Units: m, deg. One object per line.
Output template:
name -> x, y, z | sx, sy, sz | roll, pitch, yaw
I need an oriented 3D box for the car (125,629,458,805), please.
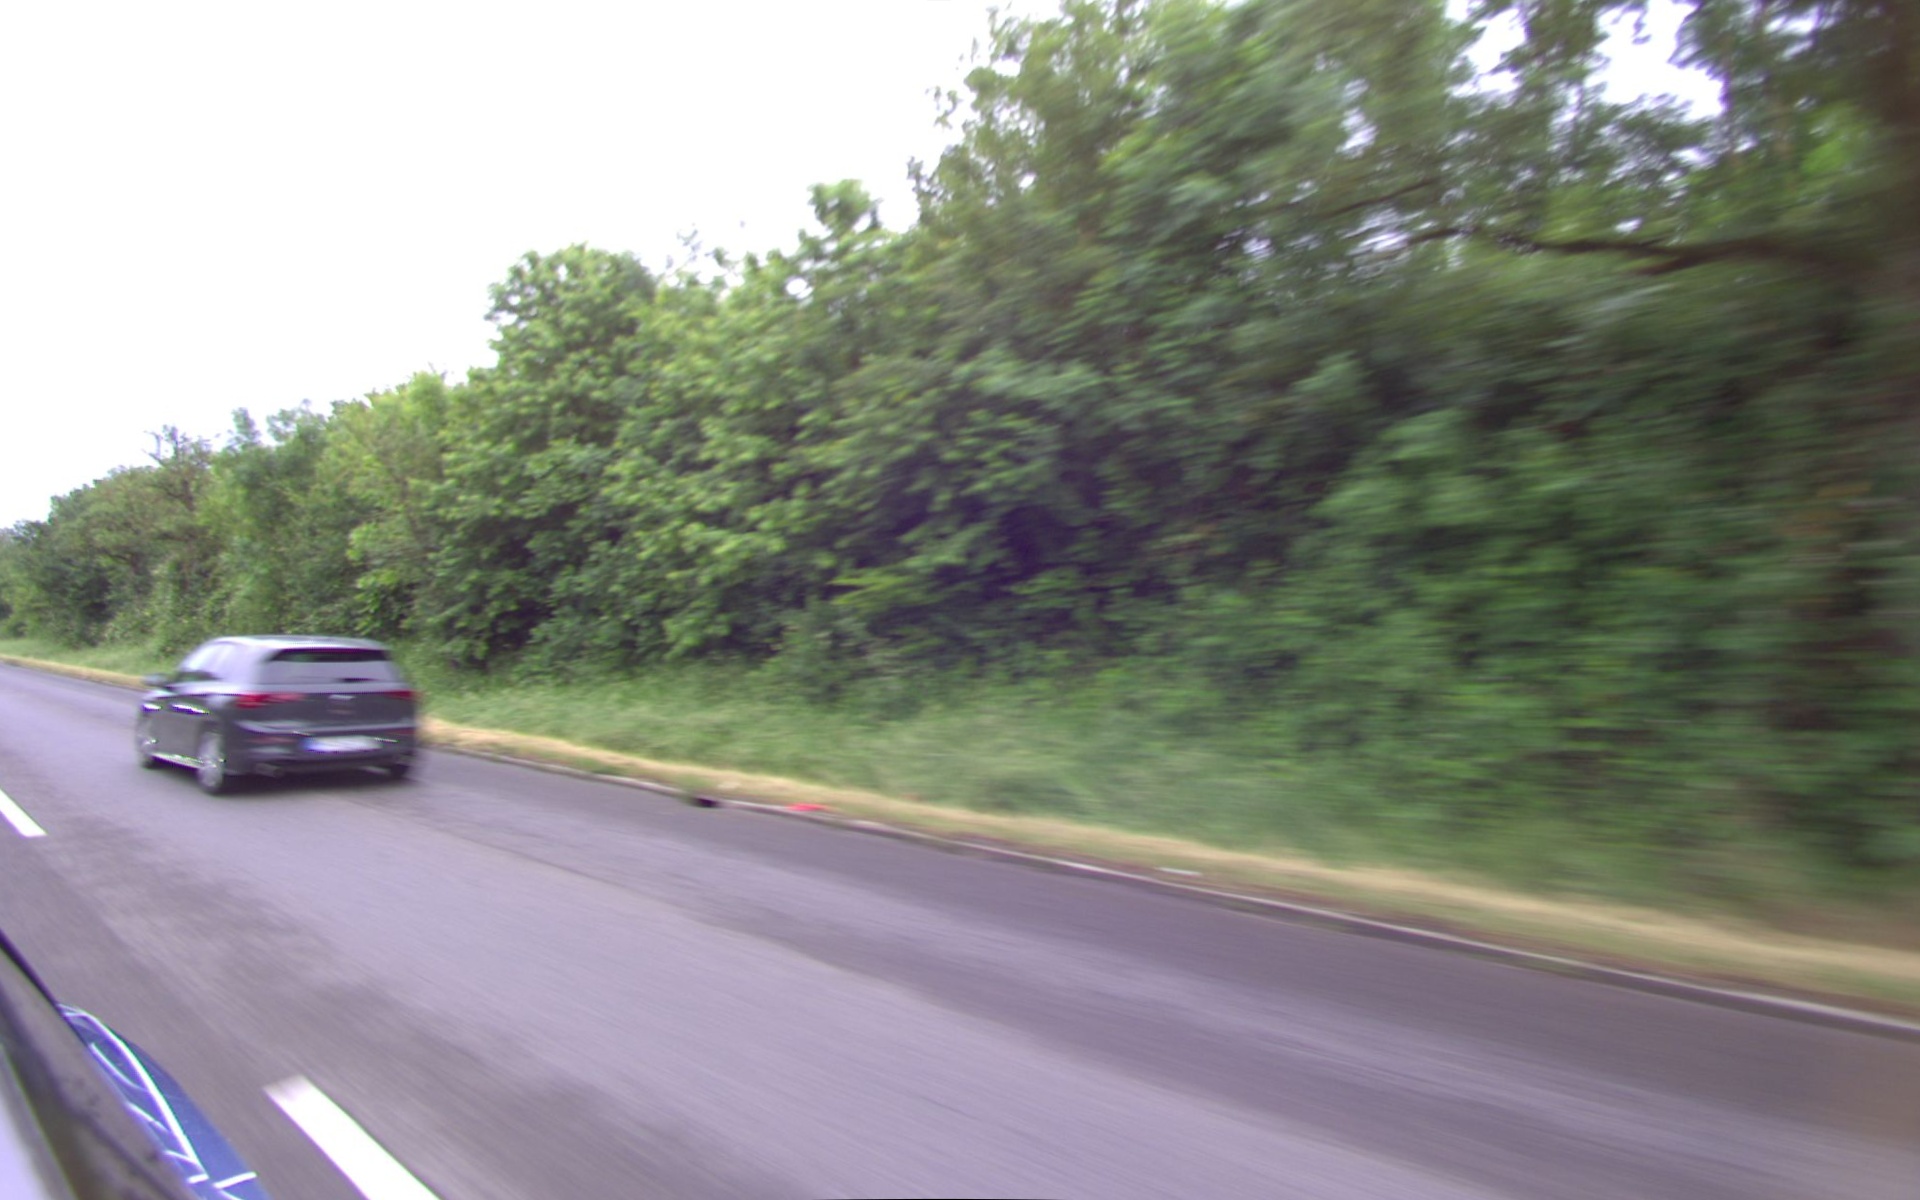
car -> -6.822, 1.021, 10.162 | 4.147, 1.410, 1.692 | -1, -4, 41
